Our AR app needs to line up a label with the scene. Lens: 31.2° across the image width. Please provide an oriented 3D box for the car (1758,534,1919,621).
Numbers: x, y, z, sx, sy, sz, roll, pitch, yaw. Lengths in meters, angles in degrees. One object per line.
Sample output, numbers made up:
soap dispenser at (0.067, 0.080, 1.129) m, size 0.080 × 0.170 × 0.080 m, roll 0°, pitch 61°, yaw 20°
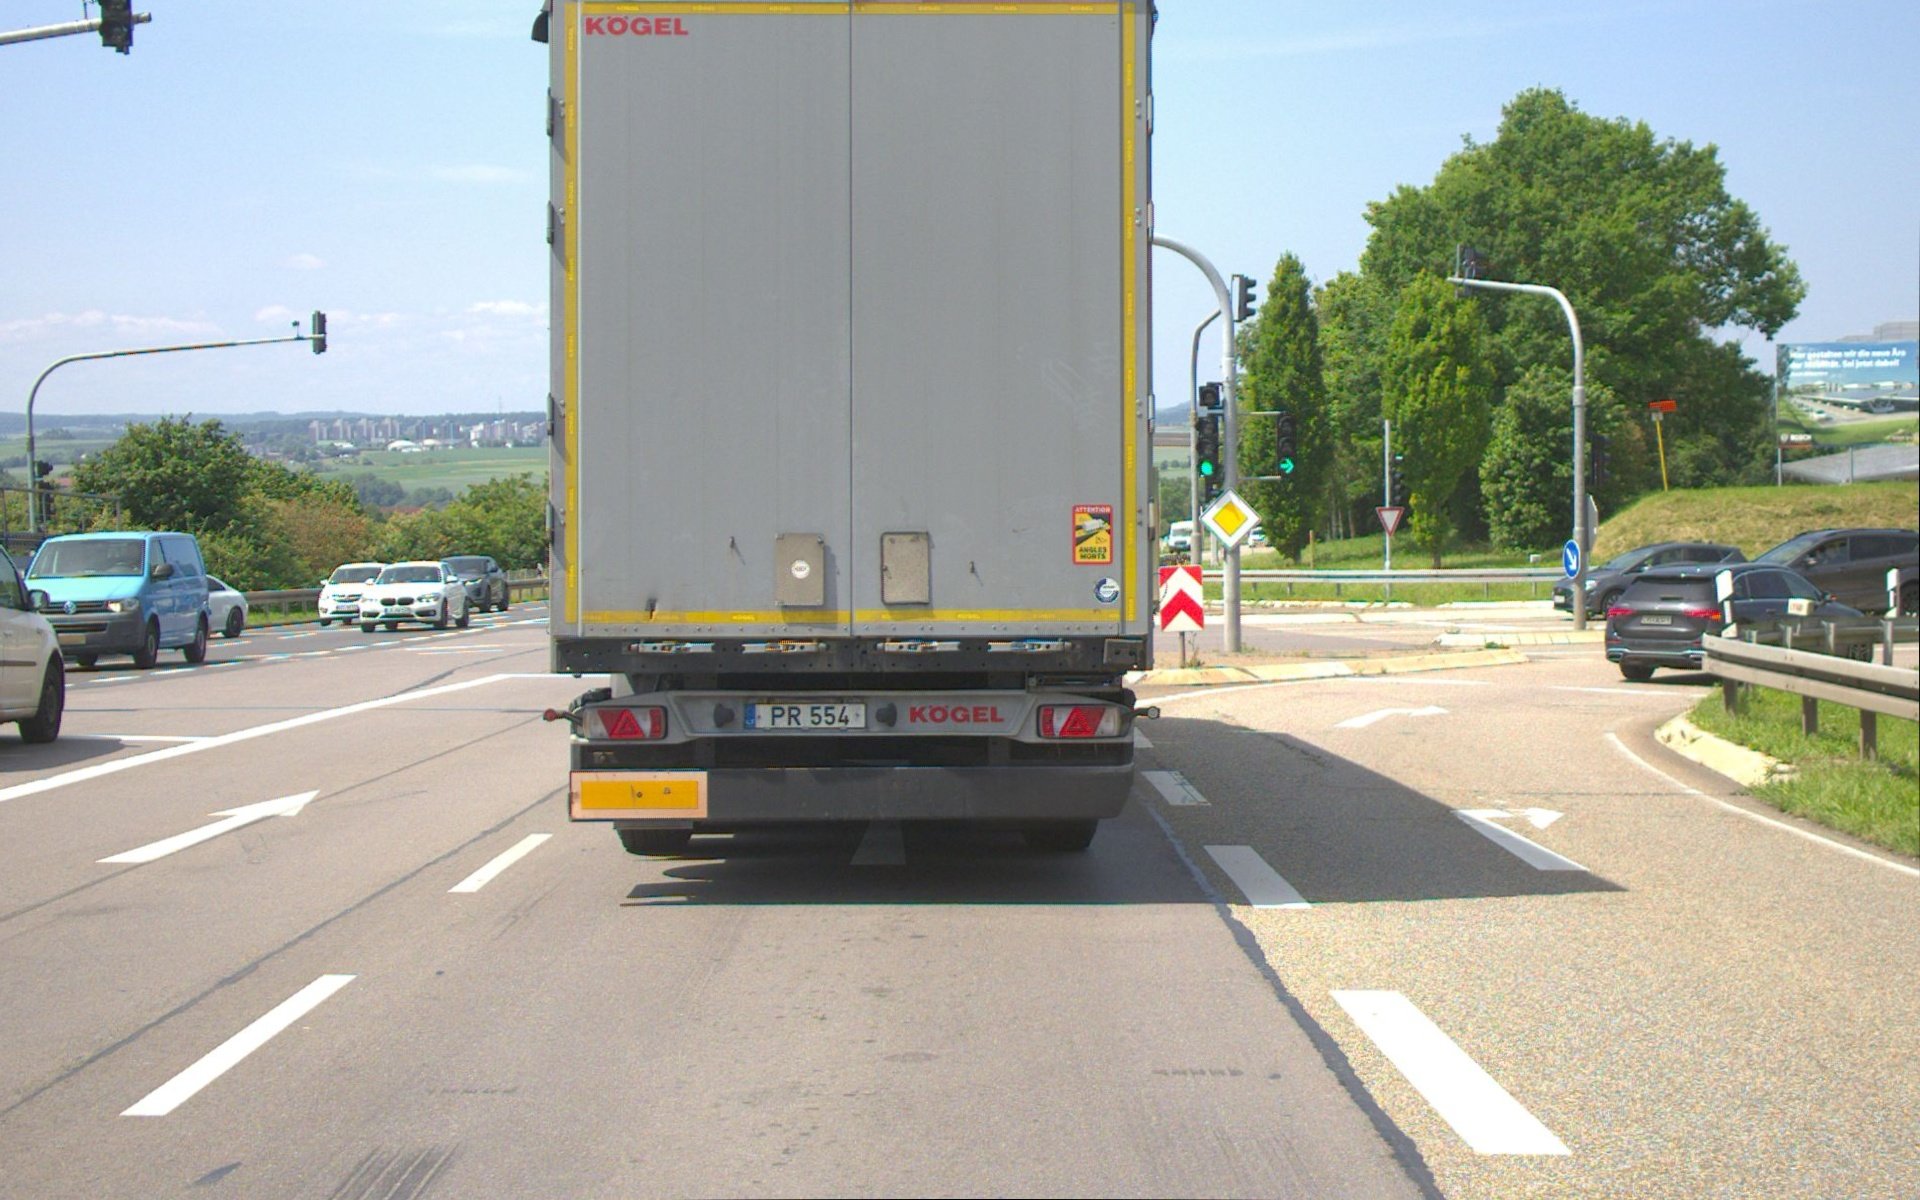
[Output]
car at (16.697, -0.416, 61.530) m, size 4.357 × 1.505 × 1.717 m, roll -1°, pitch 0°, yaw -10°

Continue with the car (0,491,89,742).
car at (-7.751, 0.111, 24.493) m, size 1.767 × 1.792 × 4.752 m, roll 1°, pitch 1°, yaw 1°

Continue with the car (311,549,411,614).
car at (-14.669, -0.457, 84.360) m, size 1.644 × 1.491 × 3.801 m, roll -2°, pitch 0°, yaw 2°

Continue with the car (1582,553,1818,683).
car at (9.268, 0.202, 42.820) m, size 1.748 × 1.527 × 4.292 m, roll 1°, pitch 0°, yaw 28°

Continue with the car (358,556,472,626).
car at (-11.555, -0.201, 73.143) m, size 1.772 × 1.429 × 4.000 m, roll -1°, pitch 0°, yaw 0°

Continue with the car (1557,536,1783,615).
car at (13.951, -0.491, 67.628) m, size 3.986 × 1.505 × 1.717 m, roll -1°, pitch 0°, yaw -9°

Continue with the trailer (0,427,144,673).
trailer at (-15.978, -0.733, 50.727) m, size 2.639 × 3.750 × 19.798 m, roll -1°, pitch 0°, yaw 1°

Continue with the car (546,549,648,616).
car at (-8.306, -0.404, 78.874) m, size 1.755 × 1.464 × 4.196 m, roll 1°, pitch 0°, yaw 1°

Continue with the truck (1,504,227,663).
truck at (-12.118, -0.238, 49.531) m, size 1.966 × 2.150 × 4.623 m, roll -1°, pitch 0°, yaw 2°

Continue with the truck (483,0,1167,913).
truck at (-0.718, -0.746, 19.937) m, size 2.799 × 3.916 × 11.342 m, roll 1°, pitch 1°, yaw -2°

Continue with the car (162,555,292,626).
car at (-15.691, -0.216, 73.742) m, size 1.628 × 1.455 × 4.493 m, roll 1°, pitch 0°, yaw 3°

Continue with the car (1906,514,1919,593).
car at (21.554, -0.956, 69.437) m, size 4.357 × 1.587 × 1.780 m, roll -1°, pitch 0°, yaw -9°
